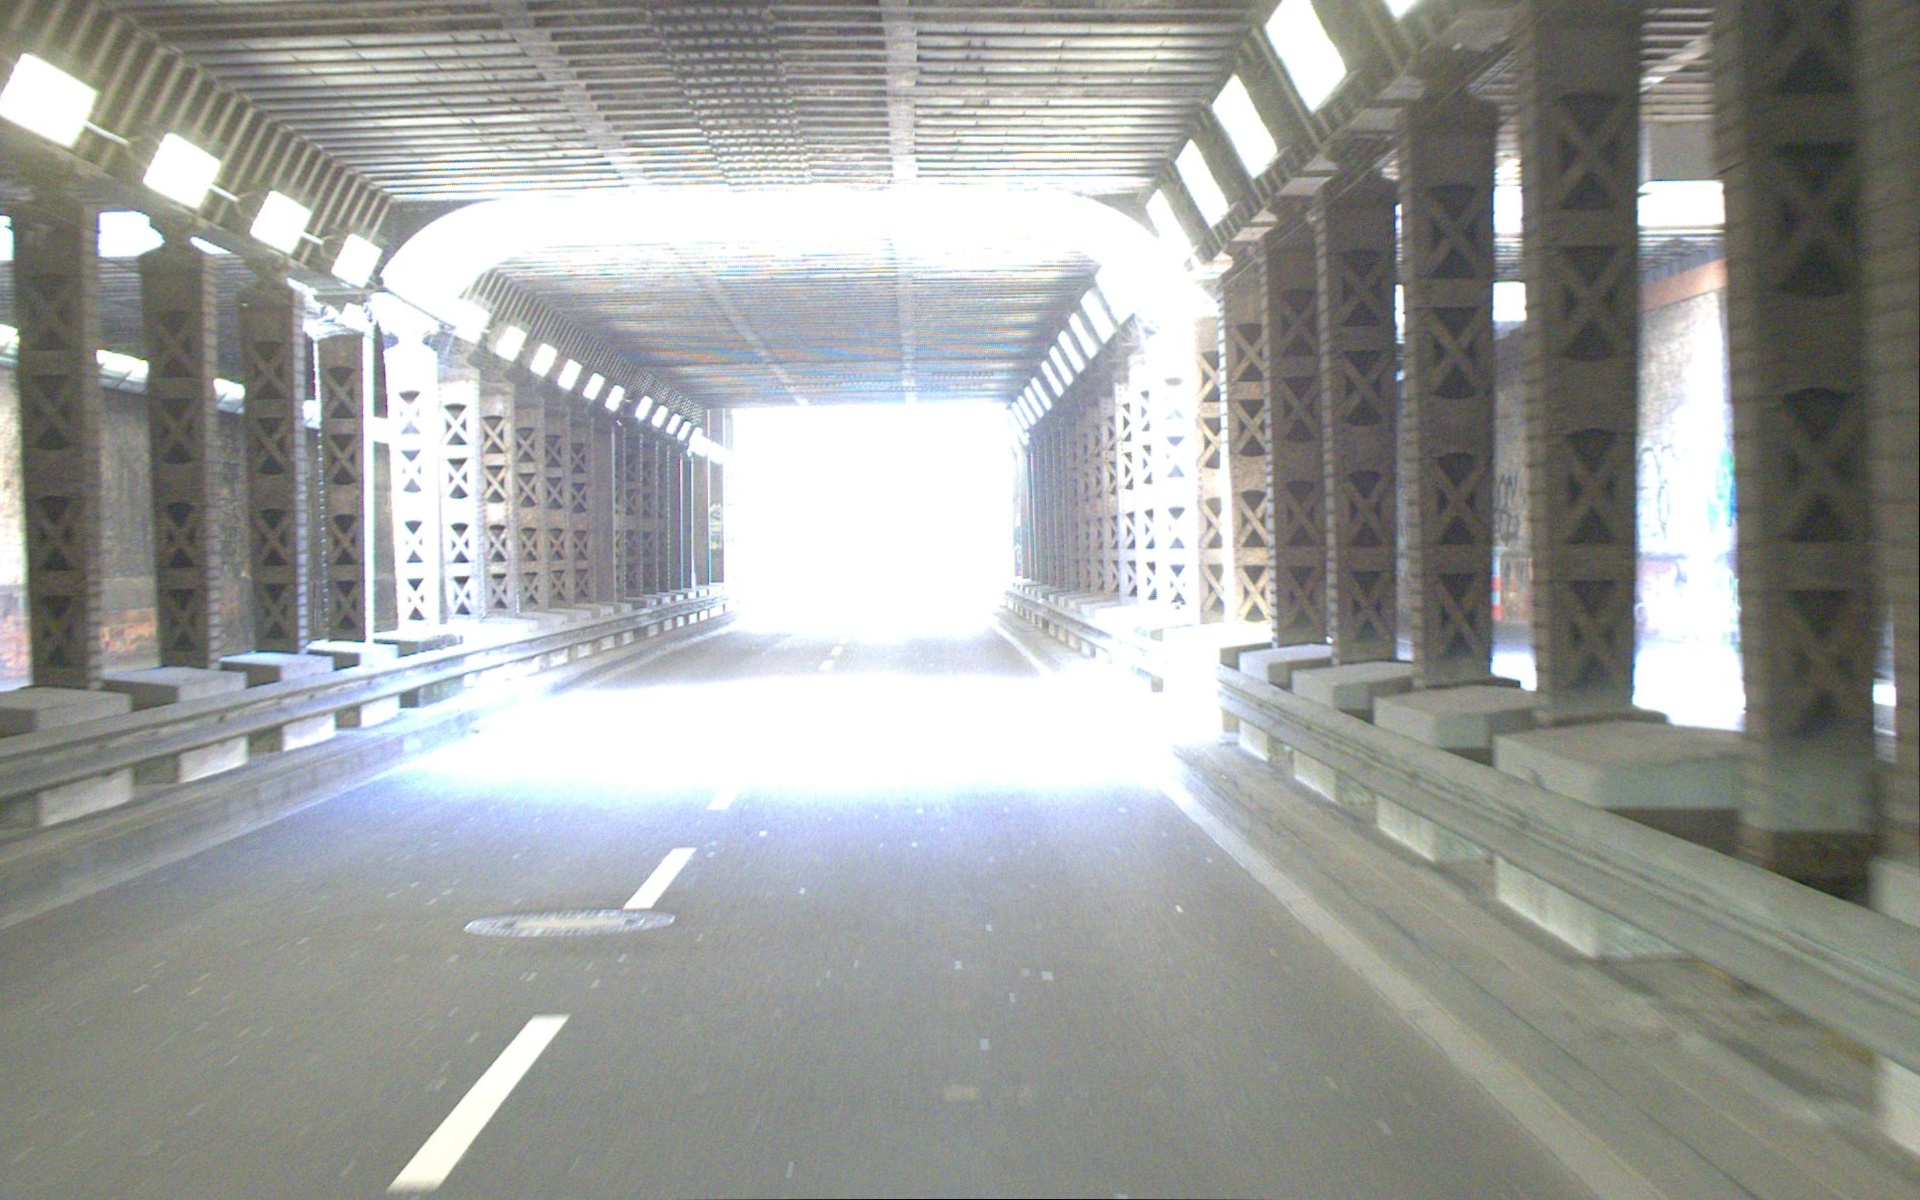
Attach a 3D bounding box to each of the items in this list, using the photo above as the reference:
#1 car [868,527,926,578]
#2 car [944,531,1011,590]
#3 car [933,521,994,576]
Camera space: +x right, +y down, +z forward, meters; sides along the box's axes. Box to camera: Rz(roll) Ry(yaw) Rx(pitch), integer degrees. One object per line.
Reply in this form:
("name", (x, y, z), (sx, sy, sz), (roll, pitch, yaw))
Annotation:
("car", (-2.248, -1.718, 123.477), (1.993, 1.778, 4.000), (-1, 1, -1))
("car", (0.523, -1.240, 106.890), (1.993, 1.778, 4.000), (-1, 1, -1))
("car", (0.091, -1.763, 116.931), (1.993, 1.778, 4.000), (-1, 1, -1))
